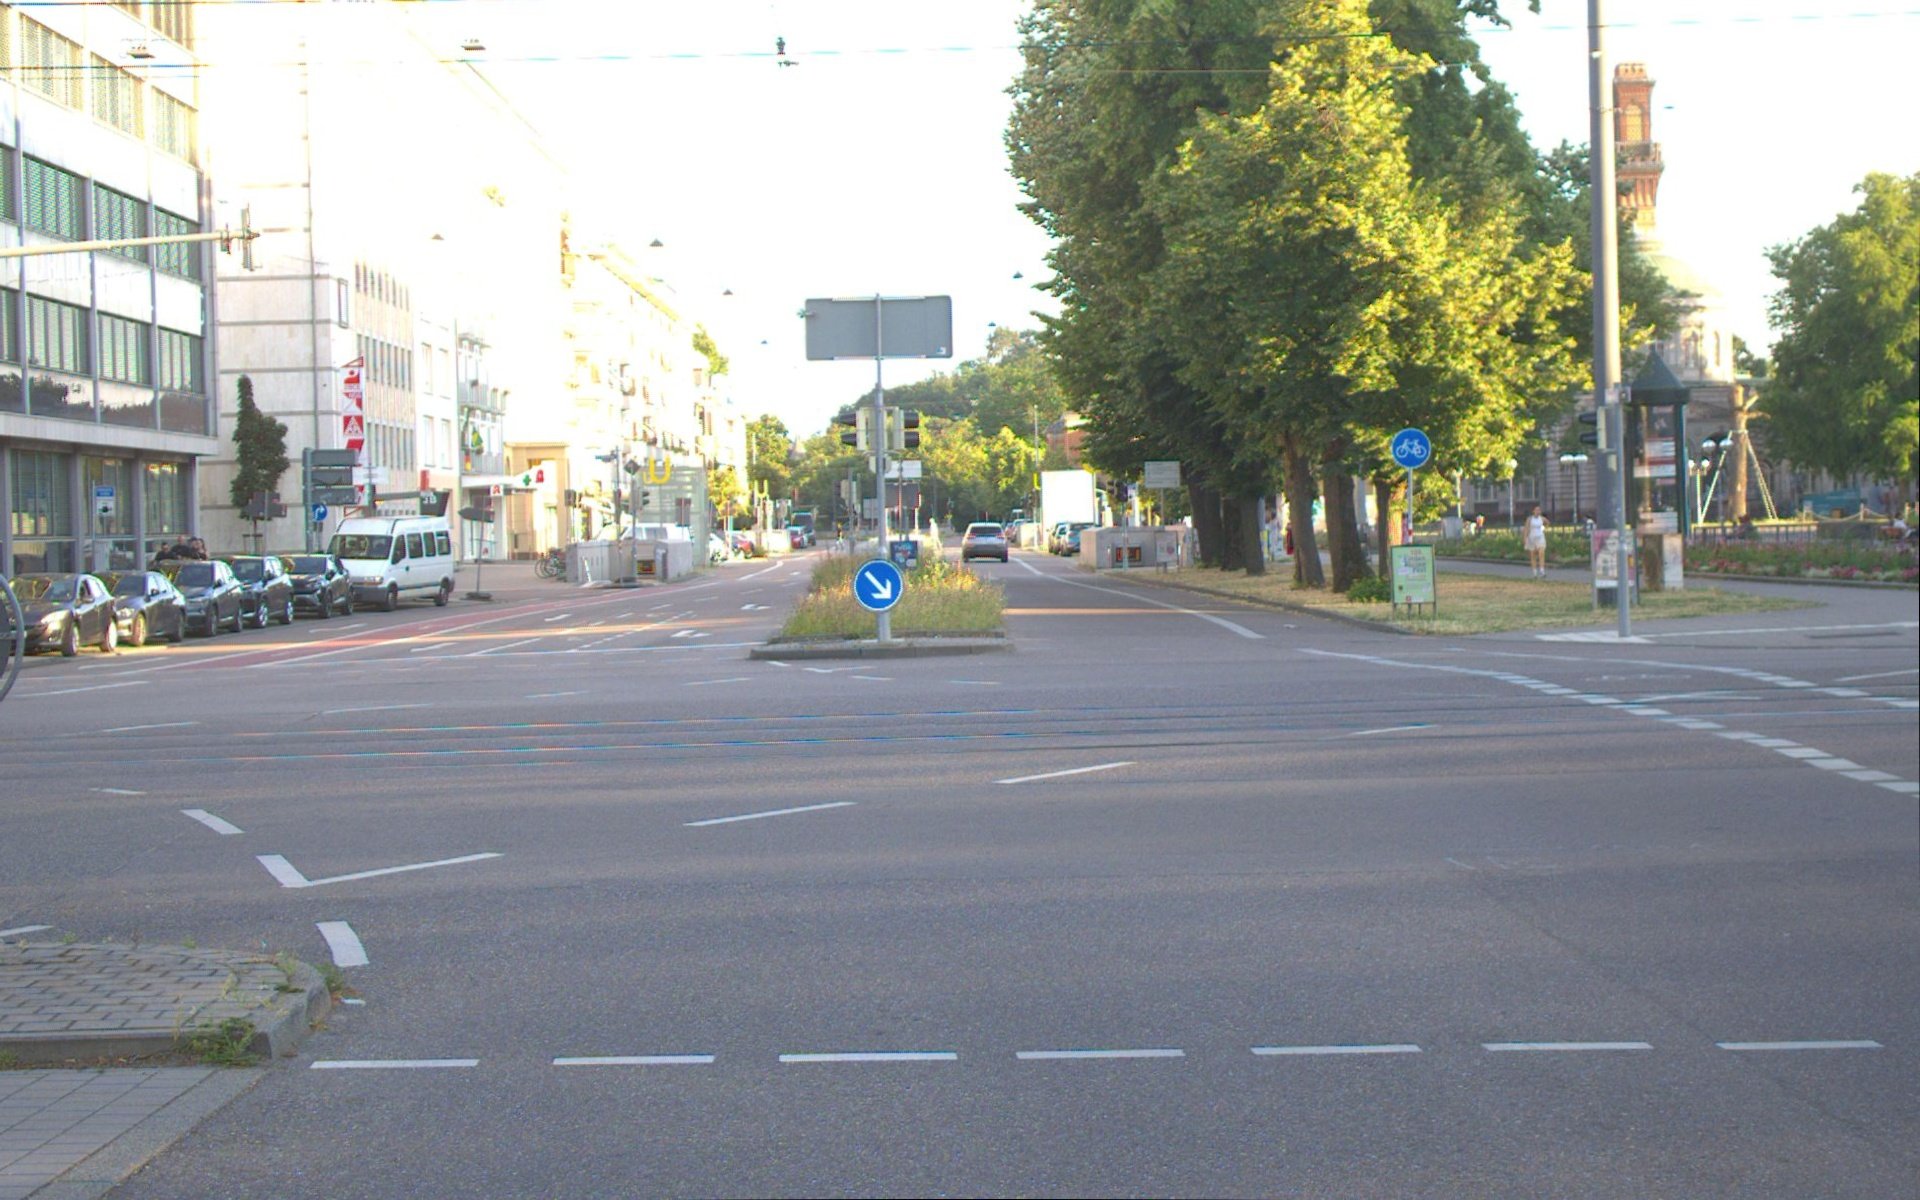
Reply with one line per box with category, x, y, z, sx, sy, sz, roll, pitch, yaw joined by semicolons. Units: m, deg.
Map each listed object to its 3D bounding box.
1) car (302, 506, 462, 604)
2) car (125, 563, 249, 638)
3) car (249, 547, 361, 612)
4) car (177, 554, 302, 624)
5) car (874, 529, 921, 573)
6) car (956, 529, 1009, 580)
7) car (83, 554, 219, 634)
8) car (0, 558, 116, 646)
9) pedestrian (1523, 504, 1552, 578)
car;-15.364;-1.150;91.733;2.177;2.377;5.986;-2;-1;11
car;-16.539;0.028;73.693;1.796;1.470;4.000;-1;-1;-1
car;-16.195;-0.495;85.148;1.796;1.470;3.999;-2;-1;3
car;-16.468;-0.222;78.749;1.796;1.470;3.999;-2;-1;3
car;-2.719;-2.150;149.245;1.993;1.809;4.000;-1;1;-1
car;0.897;-1.871;140.790;1.993;2.007;4.000;-1;1;-1
car;-16.076;-0.099;68.473;1.796;1.470;4.000;-1;-1;-1
car;-16.640;0.065;62.178;1.796;1.470;4.000;-1;-1;-1
pedestrian;13.169;-1.344;78.388;0.508;1.663;0.531;-1;1;-1
